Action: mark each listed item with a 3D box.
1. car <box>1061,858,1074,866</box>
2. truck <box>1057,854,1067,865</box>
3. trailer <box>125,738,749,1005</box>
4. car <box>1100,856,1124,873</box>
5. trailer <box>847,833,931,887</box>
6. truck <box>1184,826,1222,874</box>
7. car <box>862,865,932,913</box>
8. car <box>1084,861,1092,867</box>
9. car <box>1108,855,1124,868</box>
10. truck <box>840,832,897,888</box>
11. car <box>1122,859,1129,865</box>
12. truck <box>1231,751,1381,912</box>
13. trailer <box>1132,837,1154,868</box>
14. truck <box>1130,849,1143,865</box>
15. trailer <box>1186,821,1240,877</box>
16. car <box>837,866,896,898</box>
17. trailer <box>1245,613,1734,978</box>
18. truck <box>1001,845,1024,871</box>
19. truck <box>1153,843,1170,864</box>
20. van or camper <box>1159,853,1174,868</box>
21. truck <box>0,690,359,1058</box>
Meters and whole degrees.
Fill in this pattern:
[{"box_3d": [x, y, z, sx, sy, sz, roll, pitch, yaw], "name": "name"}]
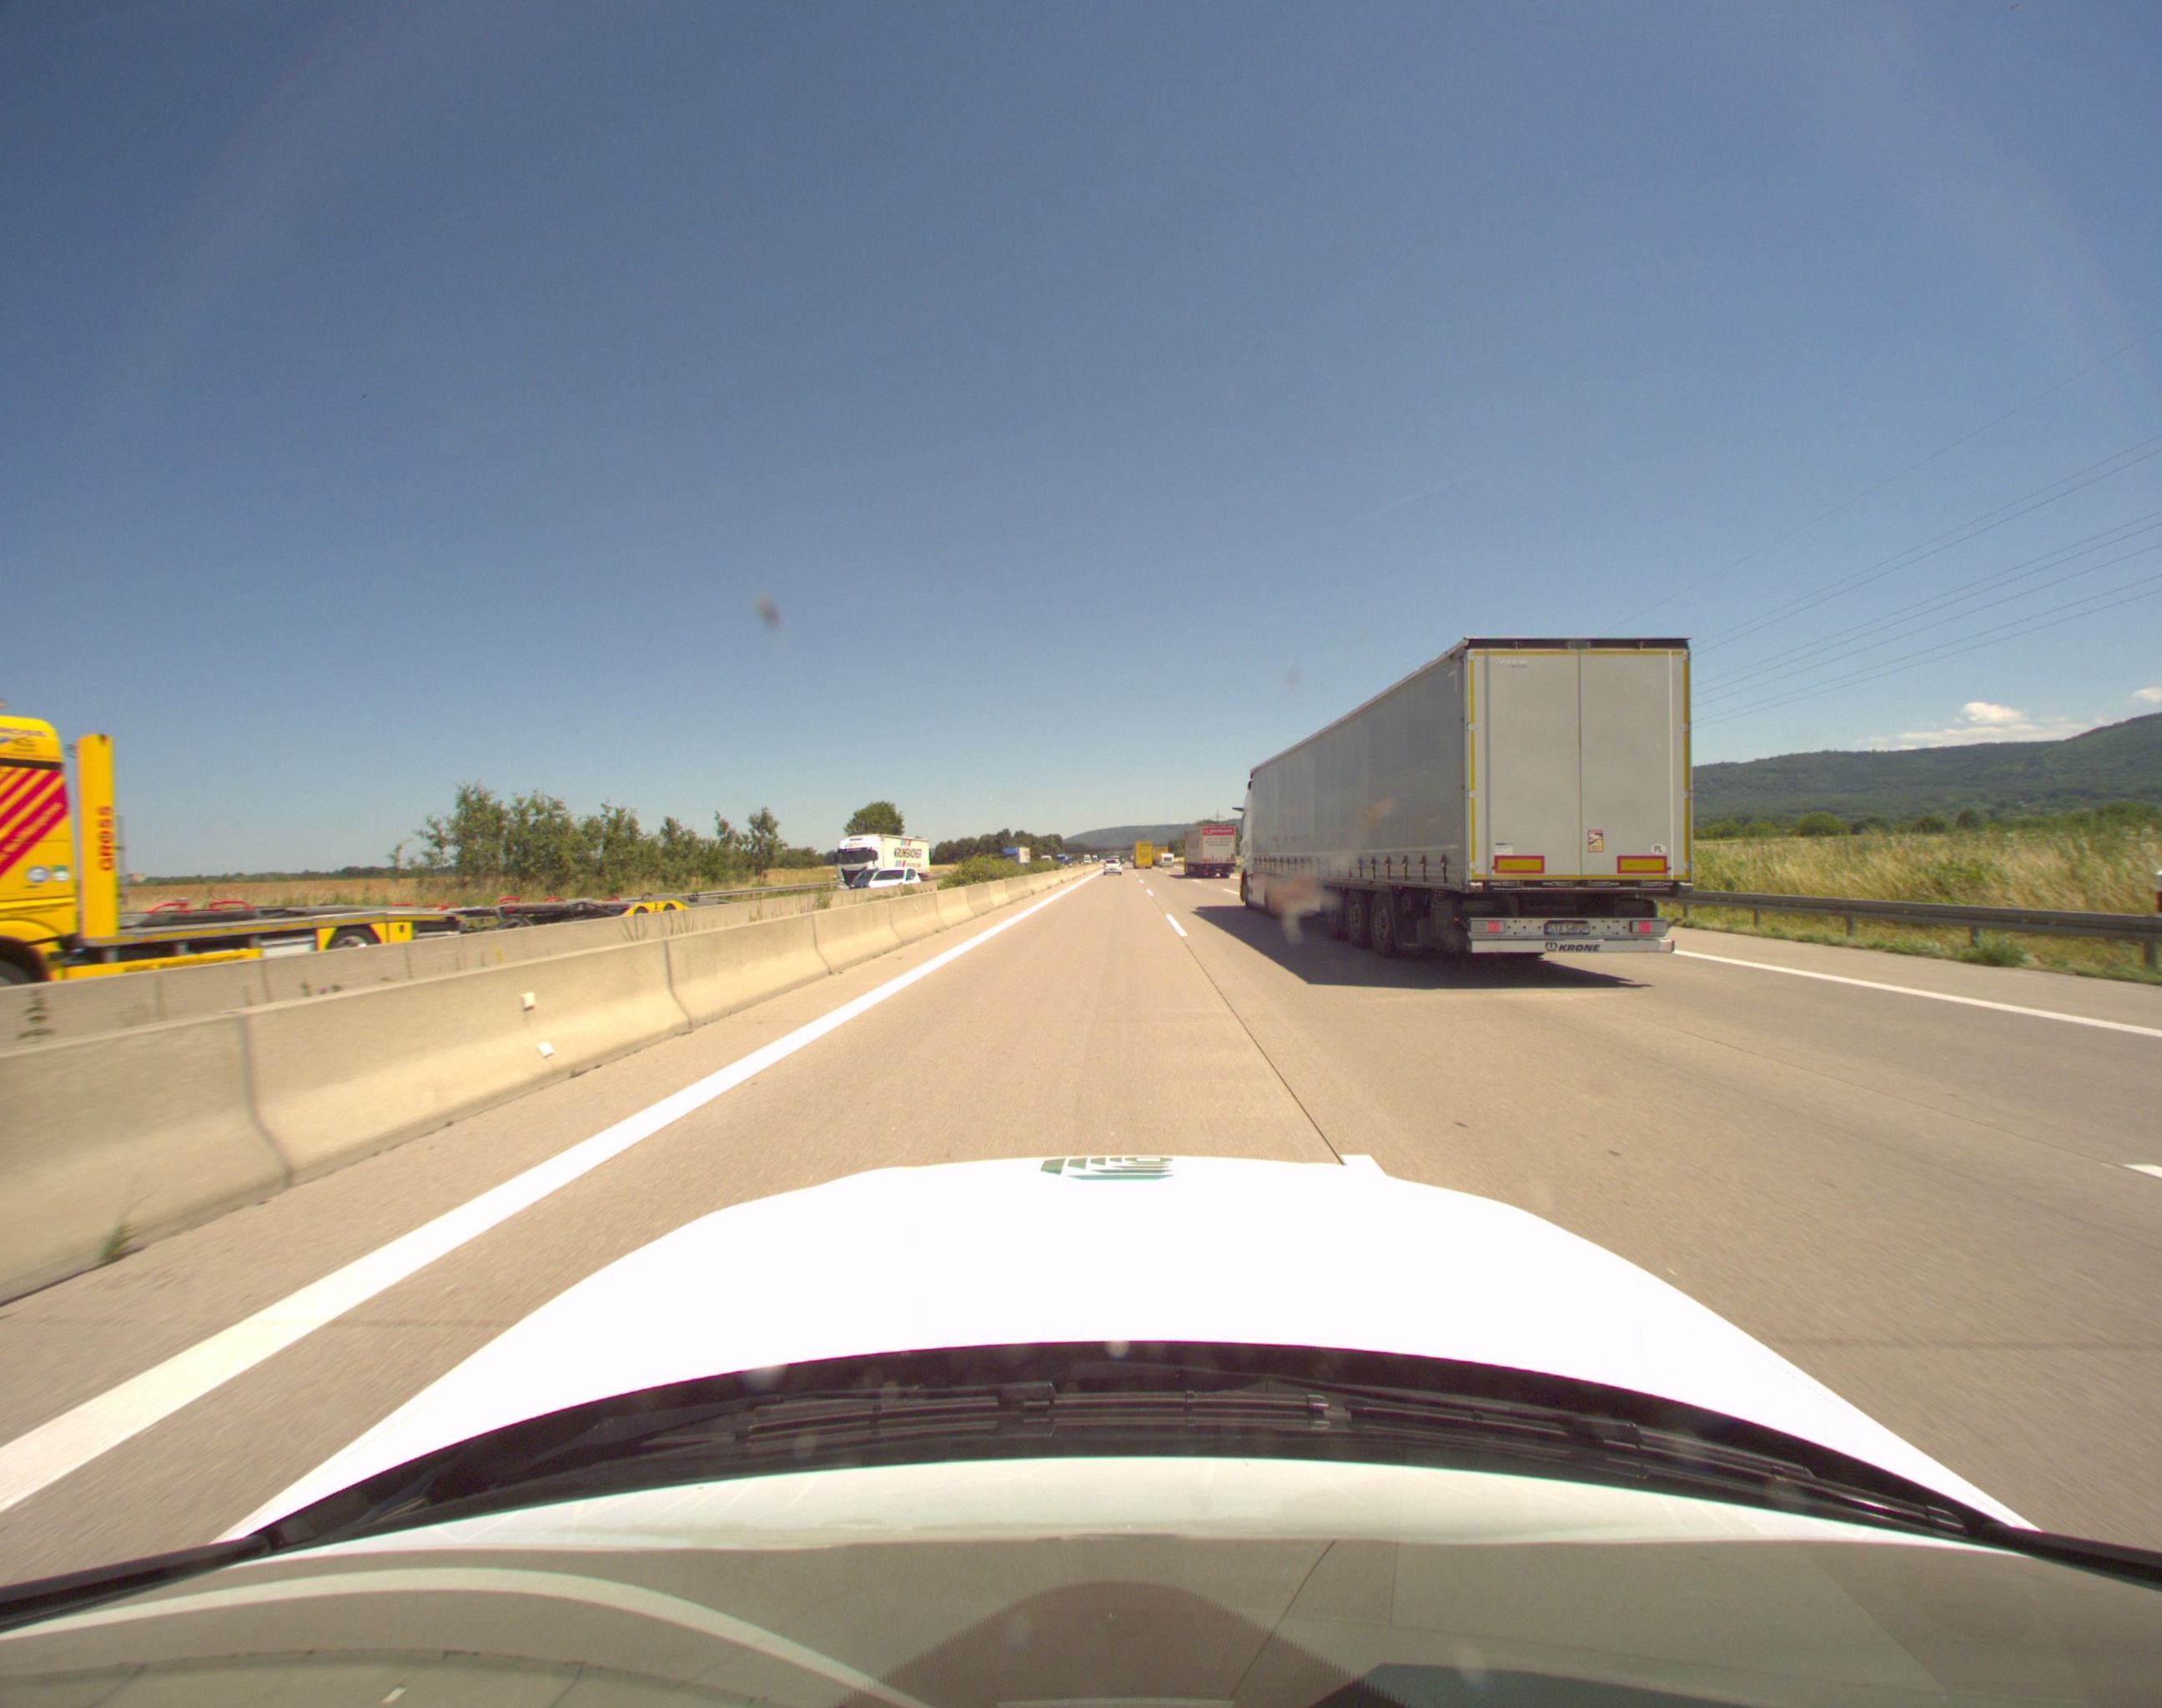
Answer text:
[{"box_3d": [-2.397, 1.366, 143.912, 1.891, 1.326, 5.072, 0, 0, 3], "name": "car"}, {"box_3d": [-5.546, 1.533, 235.811, 2.474, 3.309, 5.266, 0, 0, 2], "name": "truck"}, {"box_3d": [-12.775, 0.289, 19.674, 2.765, 4.039, 14.624, 0, 0, 3], "name": "trailer"}, {"box_3d": [3.008, 0.986, 77.889, 2.097, 1.536, 4.127, 0, 0, 4], "name": "car"}, {"box_3d": [-14.777, 0.445, 64.298, 2.759, 3.802, 13.837, 0, 0, 3], "name": "trailer"}, {"box_3d": [10.815, -0.311, 72.590, 2.893, 4.101, 6.278, 0, 0, 4], "name": "truck"}, {"box_3d": [-7.695, 1.421, 34.459, 1.699, 1.803, 4.716, -2, 0, 2], "name": "car"}, {"box_3d": [2.005, 2.752, 228.174, 2.130, 1.679, 5.649, -3, 0, 3], "name": "car"}, {"box_3d": [5.274, 1.088, 121.304, 2.245, 2.014, 4.302, 0, 0, 4], "name": "car"}, {"box_3d": [-15.261, 0.430, 58.803, 2.759, 3.840, 4.454, 0, 0, 2], "name": "truck"}, {"box_3d": [12.879, 2.273, 235.432, 1.776, 1.881, 4.003, 0, 0, 3], "name": "car"}, {"box_3d": [6.203, -0.563, 23.371, 2.973, 4.062, 5.480, 0, 0, 2], "name": "truck"}, {"box_3d": [9.528, -0.264, 126.777, 3.202, 4.564, 13.468, 0, 0, 3], "name": "trailer"}, {"box_3d": [12.835, 0.712, 189.538, 2.808, 3.761, 6.288, 0, 0, 3], "name": "truck"}, {"box_3d": [10.486, -0.333, 66.148, 2.862, 4.100, 13.522, 0, 0, 3], "name": "trailer"}, {"box_3d": [-11.920, 1.504, 45.561, 1.986, 1.584, 4.372, -2, 0, 2], "name": "car"}, {"box_3d": [5.957, -0.633, 16.163, 3.006, 4.061, 14.212, 0, 0, 2], "name": "trailer"}, {"box_3d": [-10.785, 0.617, 128.053, 2.885, 3.864, 5.688, 0, 0, 2], "name": "truck"}, {"box_3d": [16.546, -0.120, 167.296, 2.986, 4.314, 9.691, 0, 0, 3], "name": "truck"}, {"box_3d": [14.458, 1.058, 138.147, 2.215, 2.531, 5.434, 0, 0, 3], "name": "van or camper"}, {"box_3d": [-13.263, 0.223, 10.507, 2.732, 4.080, 5.544, 0, 0, 3], "name": "truck"}]
